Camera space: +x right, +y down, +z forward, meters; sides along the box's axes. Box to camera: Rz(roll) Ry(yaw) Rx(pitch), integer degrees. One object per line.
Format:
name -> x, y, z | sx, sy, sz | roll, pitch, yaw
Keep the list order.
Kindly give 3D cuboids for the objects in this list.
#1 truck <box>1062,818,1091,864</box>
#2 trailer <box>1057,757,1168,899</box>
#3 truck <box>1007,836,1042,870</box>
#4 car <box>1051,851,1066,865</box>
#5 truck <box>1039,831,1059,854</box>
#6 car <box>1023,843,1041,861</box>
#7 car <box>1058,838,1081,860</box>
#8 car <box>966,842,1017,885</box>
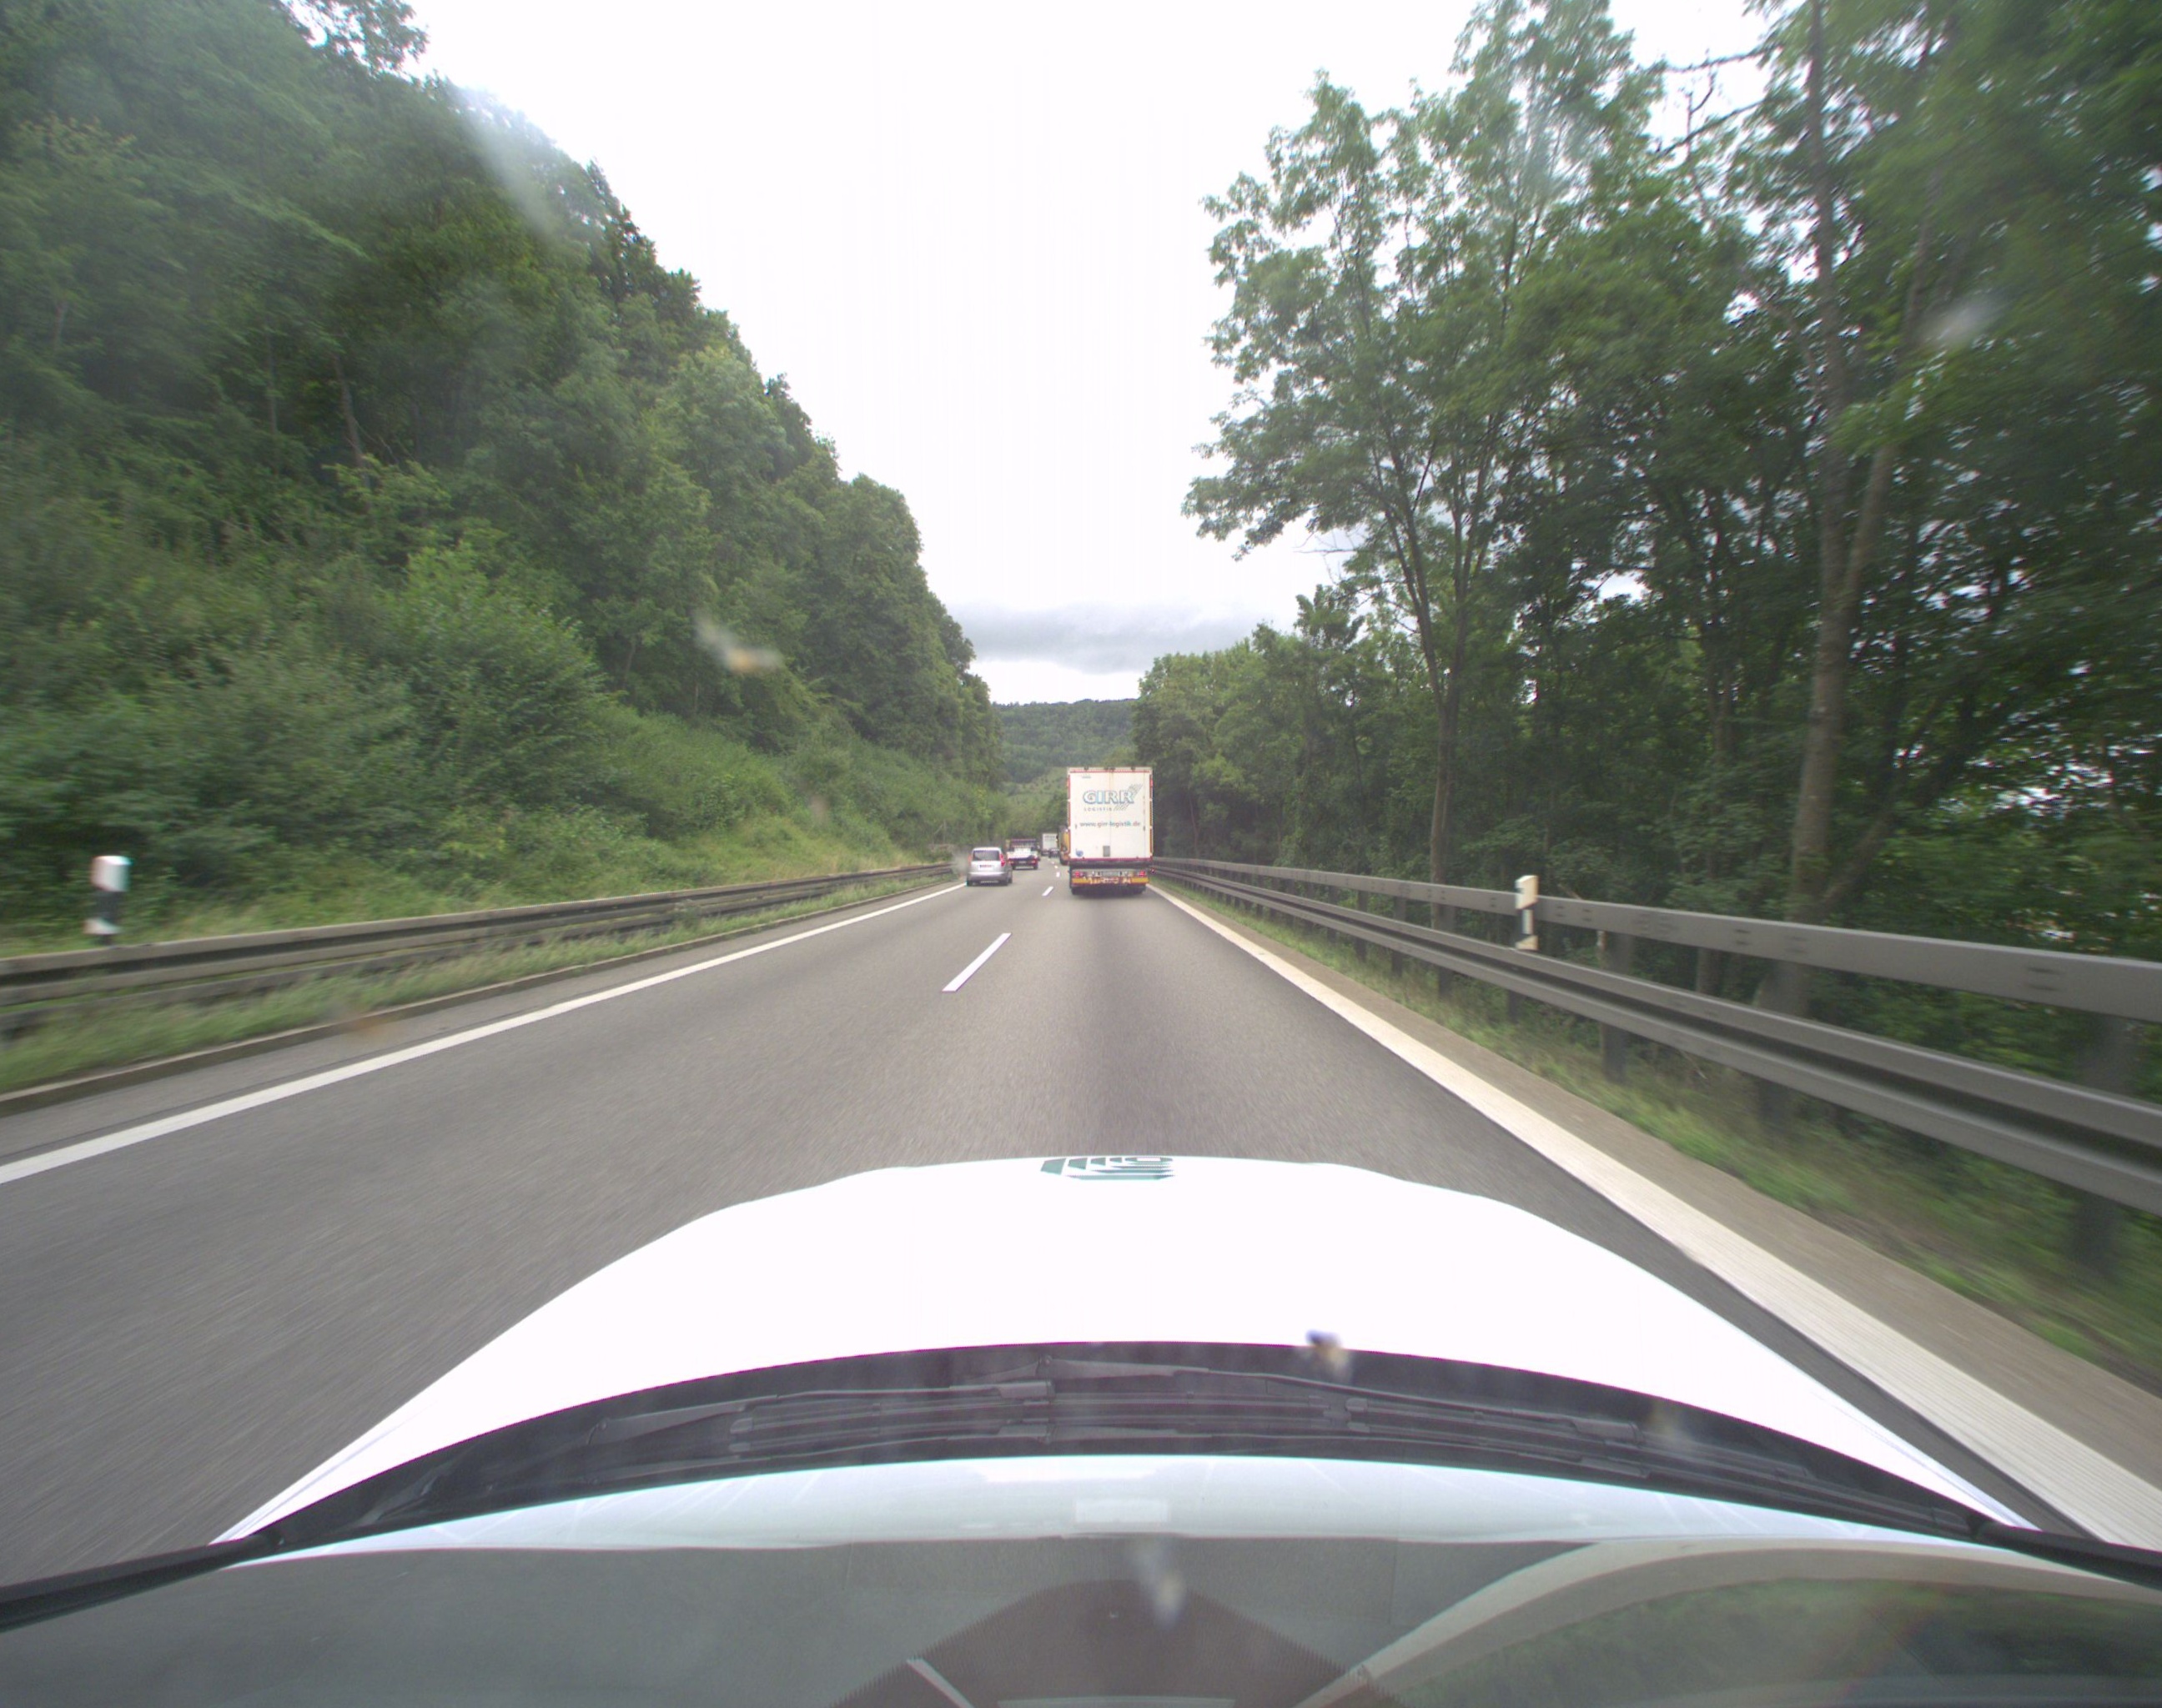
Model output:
truck -> -0.482, -1.060, 71.300 | 2.228, 3.804, 6.817 | 1, 0, -2
trailer -> 0.863, -0.804, 28.807 | 3.124, 4.042, 9.435 | 3, 0, -1
truck -> -4.108, -0.081, 60.171 | 2.343, 2.274, 6.843 | 1, 0, -2
car -> -3.204, 0.574, 115.850 | 1.989, 2.014, 3.995 | 1, 0, -3
truck -> -5.524, -1.899, 140.398 | 3.062, 3.877, 8.447 | 1, 0, -4
car -> -5.705, -0.263, 94.797 | 2.014, 1.914, 5.555 | 1, 0, -4
car -> -1.150, -0.433, 78.202 | 1.990, 2.013, 4.327 | 1, 0, -4
car -> -3.757, 0.361, 34.987 | 1.628, 1.726, 4.345 | 0, 0, 1
